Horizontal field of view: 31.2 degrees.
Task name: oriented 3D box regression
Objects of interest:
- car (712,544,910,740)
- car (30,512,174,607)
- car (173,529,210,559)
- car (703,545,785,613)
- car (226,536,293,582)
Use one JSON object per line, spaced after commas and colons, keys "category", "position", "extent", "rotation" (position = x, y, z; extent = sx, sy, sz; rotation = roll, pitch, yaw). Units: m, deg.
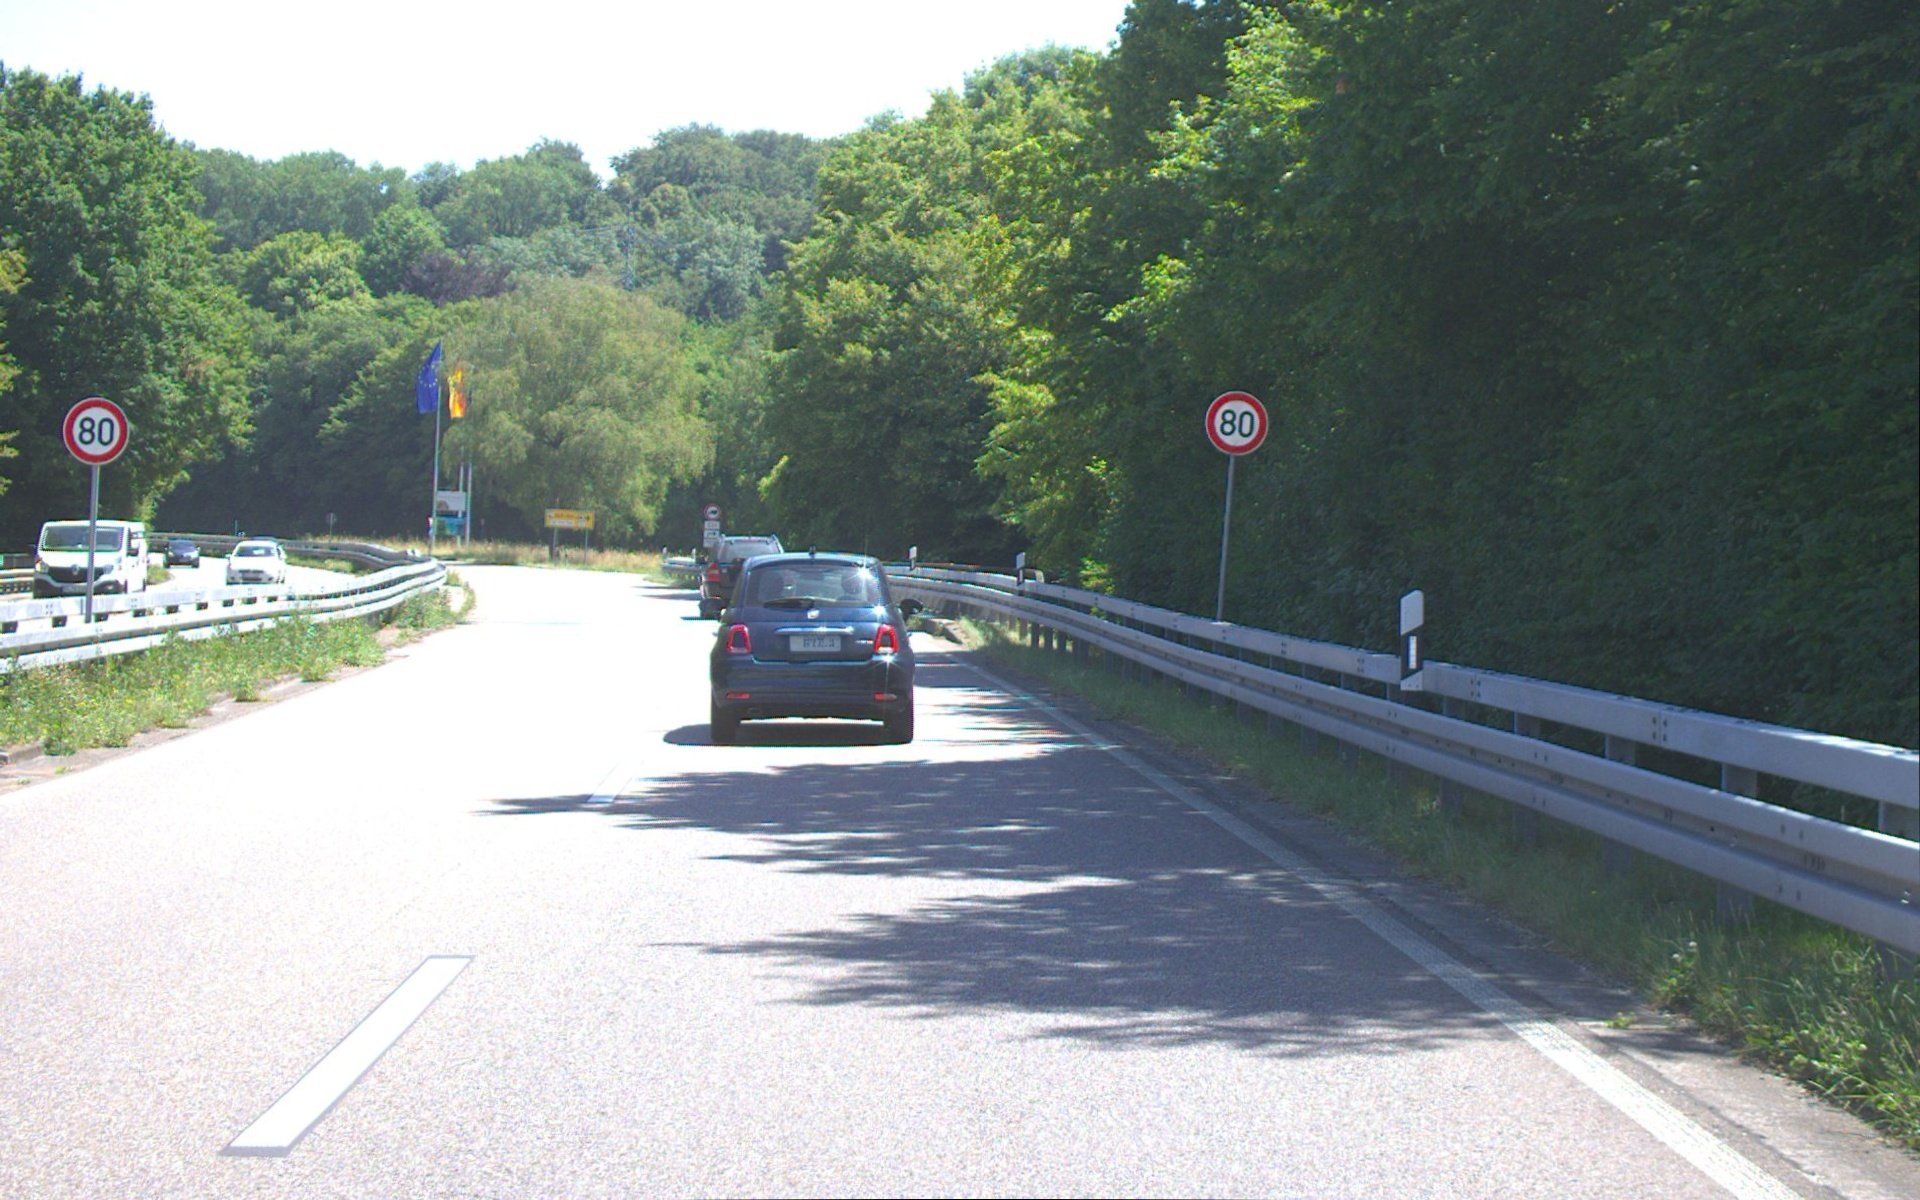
{"category": "car", "position": [-1.198, 0.295, 28.188], "extent": [1.513, 1.495, 3.590], "rotation": [0, 1, -2]}
{"category": "car", "position": [-18.237, -0.880, 73.283], "extent": [1.989, 1.944, 5.641], "rotation": [0, 1, -4]}
{"category": "car", "position": [-40.299, -2.951, 180.336], "extent": [1.650, 1.523, 3.999], "rotation": [0, 1, -8]}
{"category": "car", "position": [-4.384, -0.442, 69.405], "extent": [1.525, 1.309, 3.415], "rotation": [0, 1, -6]}
{"category": "car", "position": [-22.682, -1.348, 111.471], "extent": [1.651, 1.442, 4.220], "rotation": [0, 1, -5]}
